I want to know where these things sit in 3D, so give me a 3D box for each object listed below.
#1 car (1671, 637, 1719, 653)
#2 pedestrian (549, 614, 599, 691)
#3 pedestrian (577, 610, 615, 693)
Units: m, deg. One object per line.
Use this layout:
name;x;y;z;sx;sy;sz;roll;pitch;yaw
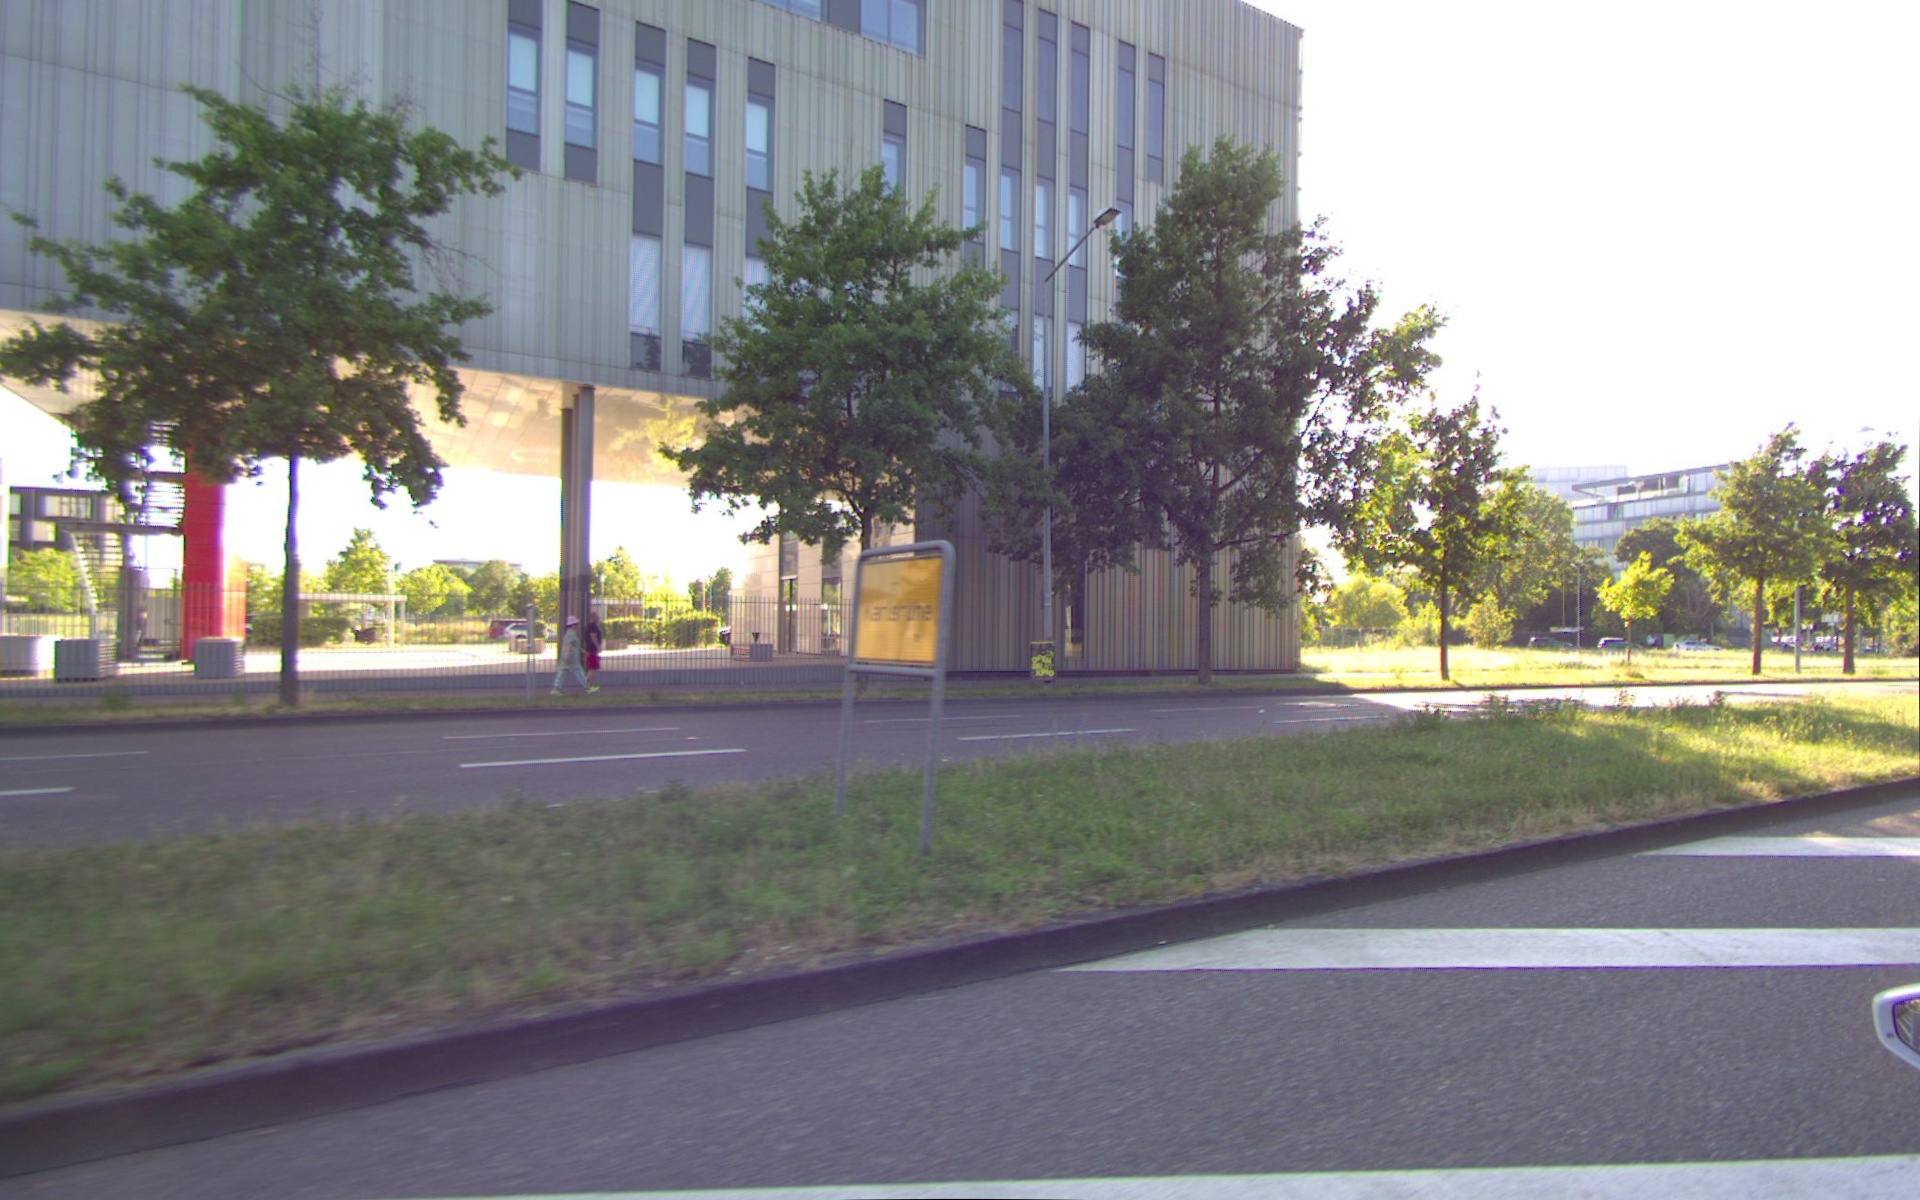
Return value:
car;75.932;4.638;103.824;3.635;1.528;1.876;0;-1;18
pedestrian;-8.387;1.119;21.830;0.898;1.623;0.773;1;-1;-29
pedestrian;-8.284;1.162;22.857;0.708;1.866;0.630;1;-1;-29
